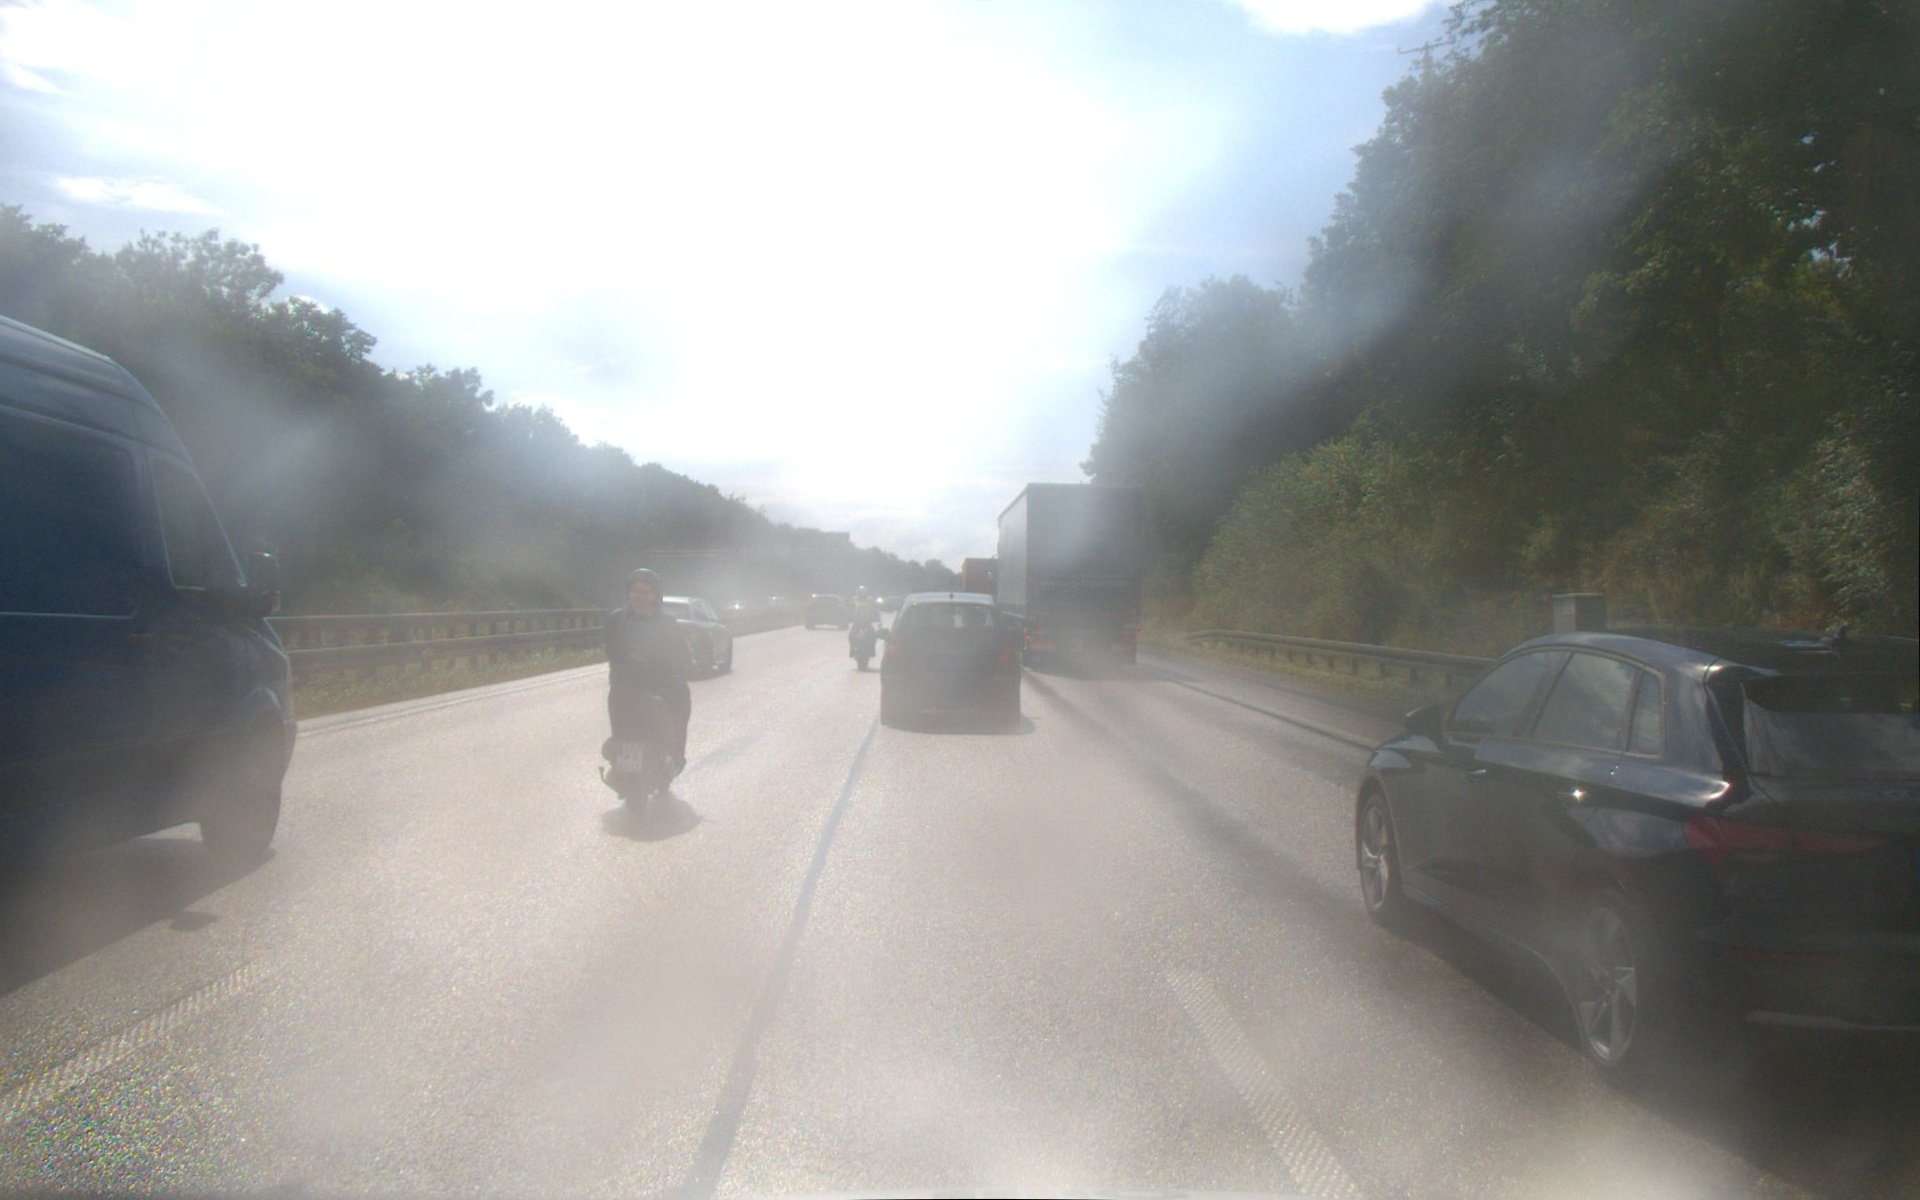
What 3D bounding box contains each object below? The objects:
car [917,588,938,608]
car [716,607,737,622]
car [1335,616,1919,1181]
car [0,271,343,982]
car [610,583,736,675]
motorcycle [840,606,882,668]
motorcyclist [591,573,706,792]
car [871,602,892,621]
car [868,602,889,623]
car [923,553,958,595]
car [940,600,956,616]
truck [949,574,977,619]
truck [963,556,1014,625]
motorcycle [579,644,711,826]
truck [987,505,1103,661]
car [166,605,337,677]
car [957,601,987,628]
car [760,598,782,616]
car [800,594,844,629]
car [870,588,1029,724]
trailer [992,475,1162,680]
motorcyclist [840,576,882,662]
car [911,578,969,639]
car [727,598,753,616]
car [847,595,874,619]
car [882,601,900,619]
[{"bbox_3d":[-2.502,-0.133,128.021,1.599,1.516,3.435,1,0,-1],"label":"car"},{"bbox_3d":[-24.246,1.545,171.789,1.598,1.508,3.785,0,0,-1],"label":"car"},{"bbox_3d":[2.872,0.798,6.475,1.719,1.421,4.367,1,0,-1],"label":"car"},{"bbox_3d":[-4.643,0.098,7.018,1.975,2.695,5.775,1,0,-1],"label":"car"},{"bbox_3d":[-5.456,0.525,31.939,1.722,1.622,4.330,1,0,-1],"label":"car"},{"bbox_3d":[-2.107,0.772,35.458,0.803,1.285,2.117,1,0,-1],"label":"motorcycle"},{"bbox_3d":[-2.171,0.558,11.619,0.657,1.467,1.019,1,-1,-4],"label":"motorcyclist"},{"bbox_3d":[-6.646,0.975,140.437,1.641,1.516,3.435,1,0,-1],"label":"car"},{"bbox_3d":[-8.172,1.285,166.427,1.953,2.049,3.999,1,0,-1],"label":"car"},{"bbox_3d":[-0.961,-1.221,79.187,1.641,1.970,3.772,1,0,-1],"label":"car"},{"bbox_3d":[-1.601,1.036,219.620,1.953,2.049,3.998,1,0,-2],"label":"car"},{"bbox_3d":[0.247,-0.333,183.962,2.823,4.769,12.655,1,0,-1],"label":"truck"},{"bbox_3d":[1.859,-0.607,112.814,3.137,4.481,9.430,1,0,-1],"label":"truck"},{"bbox_3d":[-2.174,0.897,11.622,0.662,1.106,1.980,1,0,-4],"label":"motorcycle"},{"bbox_3d":[2.457,-0.479,49.849,2.990,4.400,5.884,1,0,-1],"label":"truck"},{"bbox_3d":[-14.143,0.780,33.261,1.807,1.318,3.999,-1,0,-2],"label":"car"},{"bbox_3d":[0.680,0.833,95.719,1.641,1.516,3.435,1,0,-1],"label":"car"},{"bbox_3d":[-20.537,0.740,179.809,1.885,1.945,4.288,0,0,-1],"label":"car"},{"bbox_3d":[-6.636,0.545,79.648,1.854,1.656,4.193,1,0,-1],"label":"car"},{"bbox_3d":[-0.175,0.667,21.755,1.876,1.592,4.312,1,0,-1],"label":"car"},{"bbox_3d":[2.661,-0.478,42.684,3.026,4.388,14.100,1,0,-1],"label":"trailer"},{"bbox_3d":[-2.104,0.411,35.406,0.804,1.791,1.390,1,-1,-1],"label":"motorcyclist"},{"bbox_3d":[-0.743,0.314,58.906,1.953,2.049,3.998,1,0,-2],"label":"car"},{"bbox_3d":[-19.676,0.613,148.251,1.883,1.608,3.999,-1,0,-2],"label":"car"},{"bbox_3d":[-6.752,0.478,112.429,1.641,1.625,3.435,1,0,-1],"label":"car"},{"bbox_3d":[-7.807,1.122,186.414,1.953,2.049,3.999,1,0,-1],"label":"car"}]
